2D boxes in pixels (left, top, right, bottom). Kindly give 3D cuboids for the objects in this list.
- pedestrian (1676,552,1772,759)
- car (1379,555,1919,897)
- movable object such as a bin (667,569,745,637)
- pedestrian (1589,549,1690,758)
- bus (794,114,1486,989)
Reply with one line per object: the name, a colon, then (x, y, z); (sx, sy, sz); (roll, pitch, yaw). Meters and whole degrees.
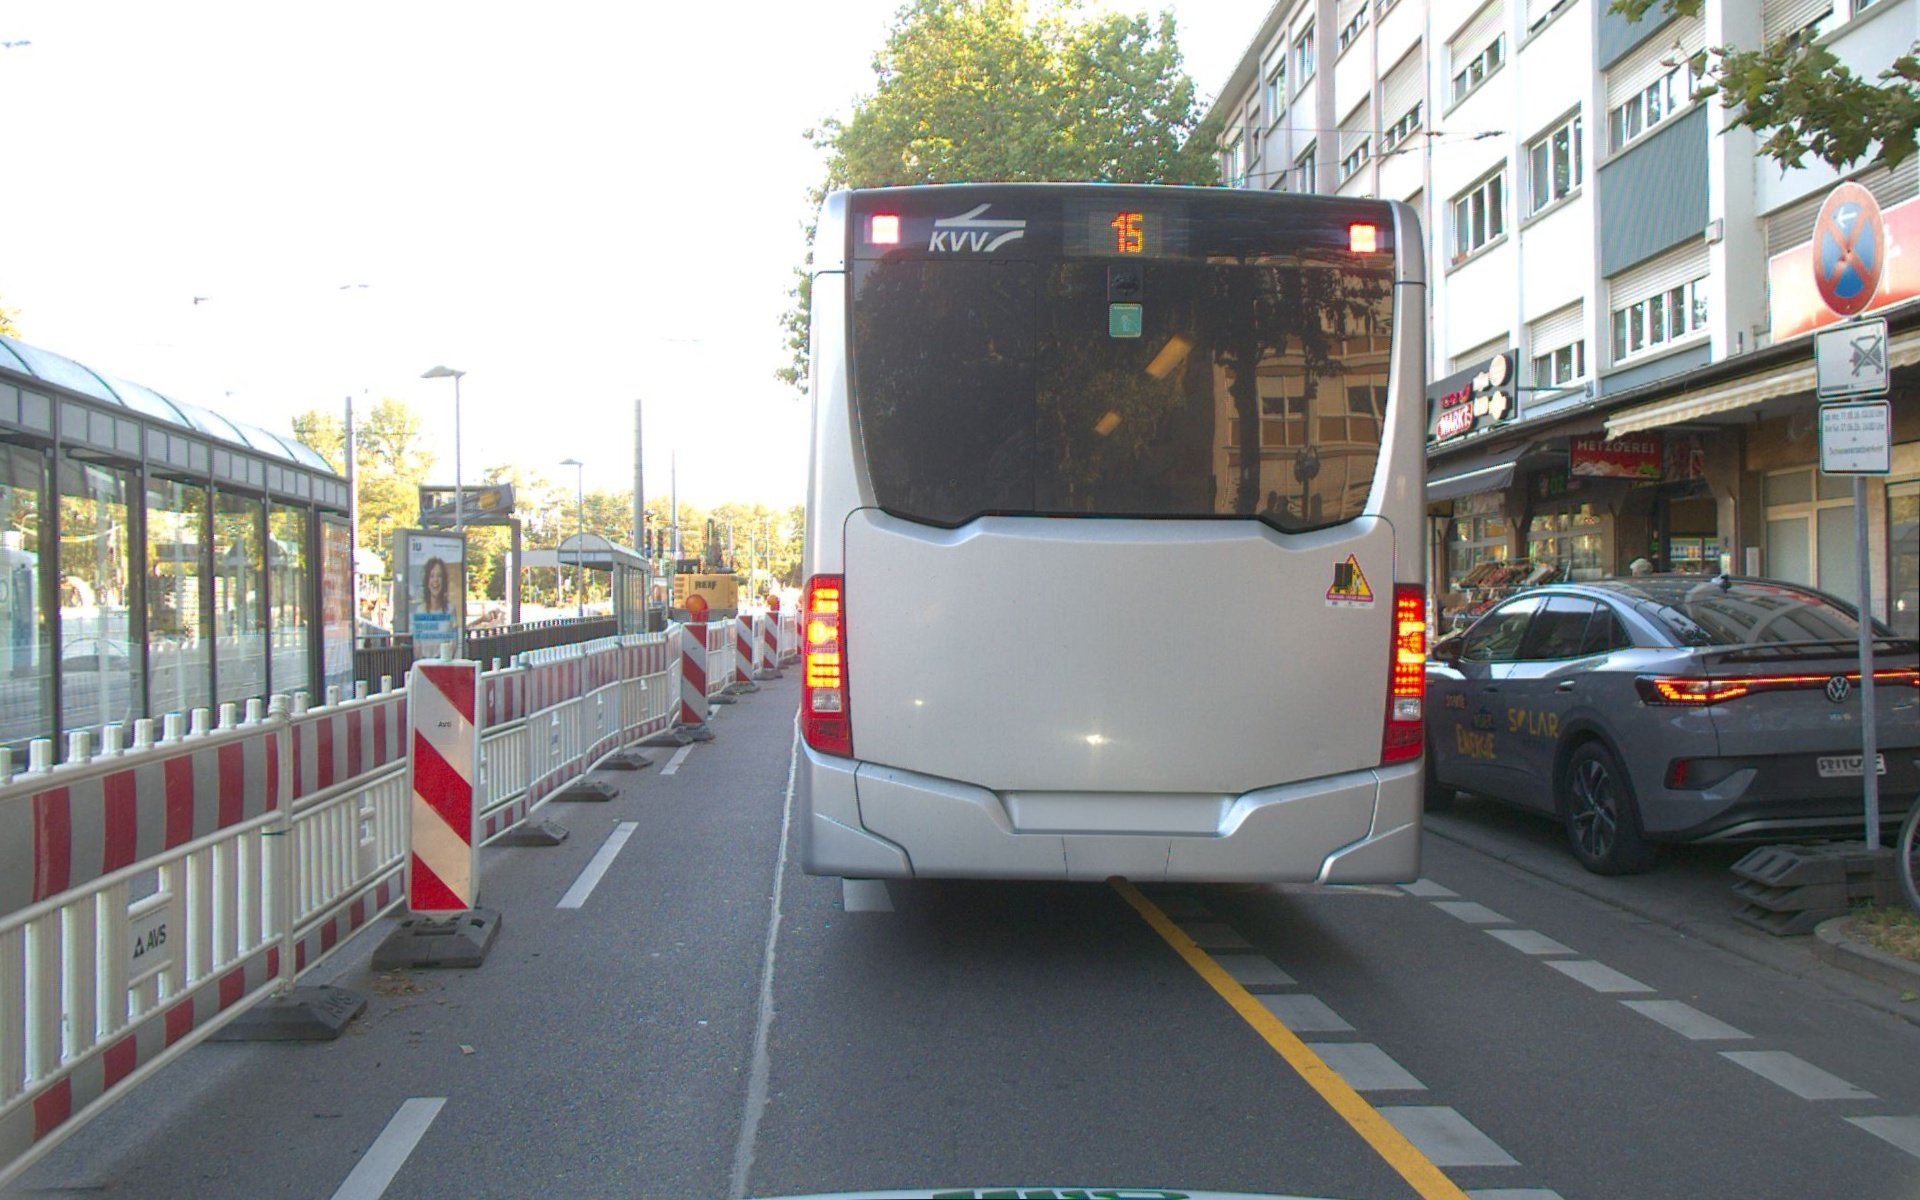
pedestrian: (7.758, 0.552, 16.813); (0.600, 2.049, 0.696); (0, 0, -4)
car: (4.222, 0.611, 10.359); (1.706, 1.625, 4.294); (-3, 0, -5)
movable object such as a bin: (-9.708, 0.114, 63.523); (2.752, 2.505, 3.995); (0, 0, -6)
pedestrian: (6.831, 0.523, 16.650); (0.677, 2.049, 0.695); (0, 0, -6)
bus: (0.617, -0.186, 11.266); (2.555, 3.225, 10.290); (0, 0, -1)
